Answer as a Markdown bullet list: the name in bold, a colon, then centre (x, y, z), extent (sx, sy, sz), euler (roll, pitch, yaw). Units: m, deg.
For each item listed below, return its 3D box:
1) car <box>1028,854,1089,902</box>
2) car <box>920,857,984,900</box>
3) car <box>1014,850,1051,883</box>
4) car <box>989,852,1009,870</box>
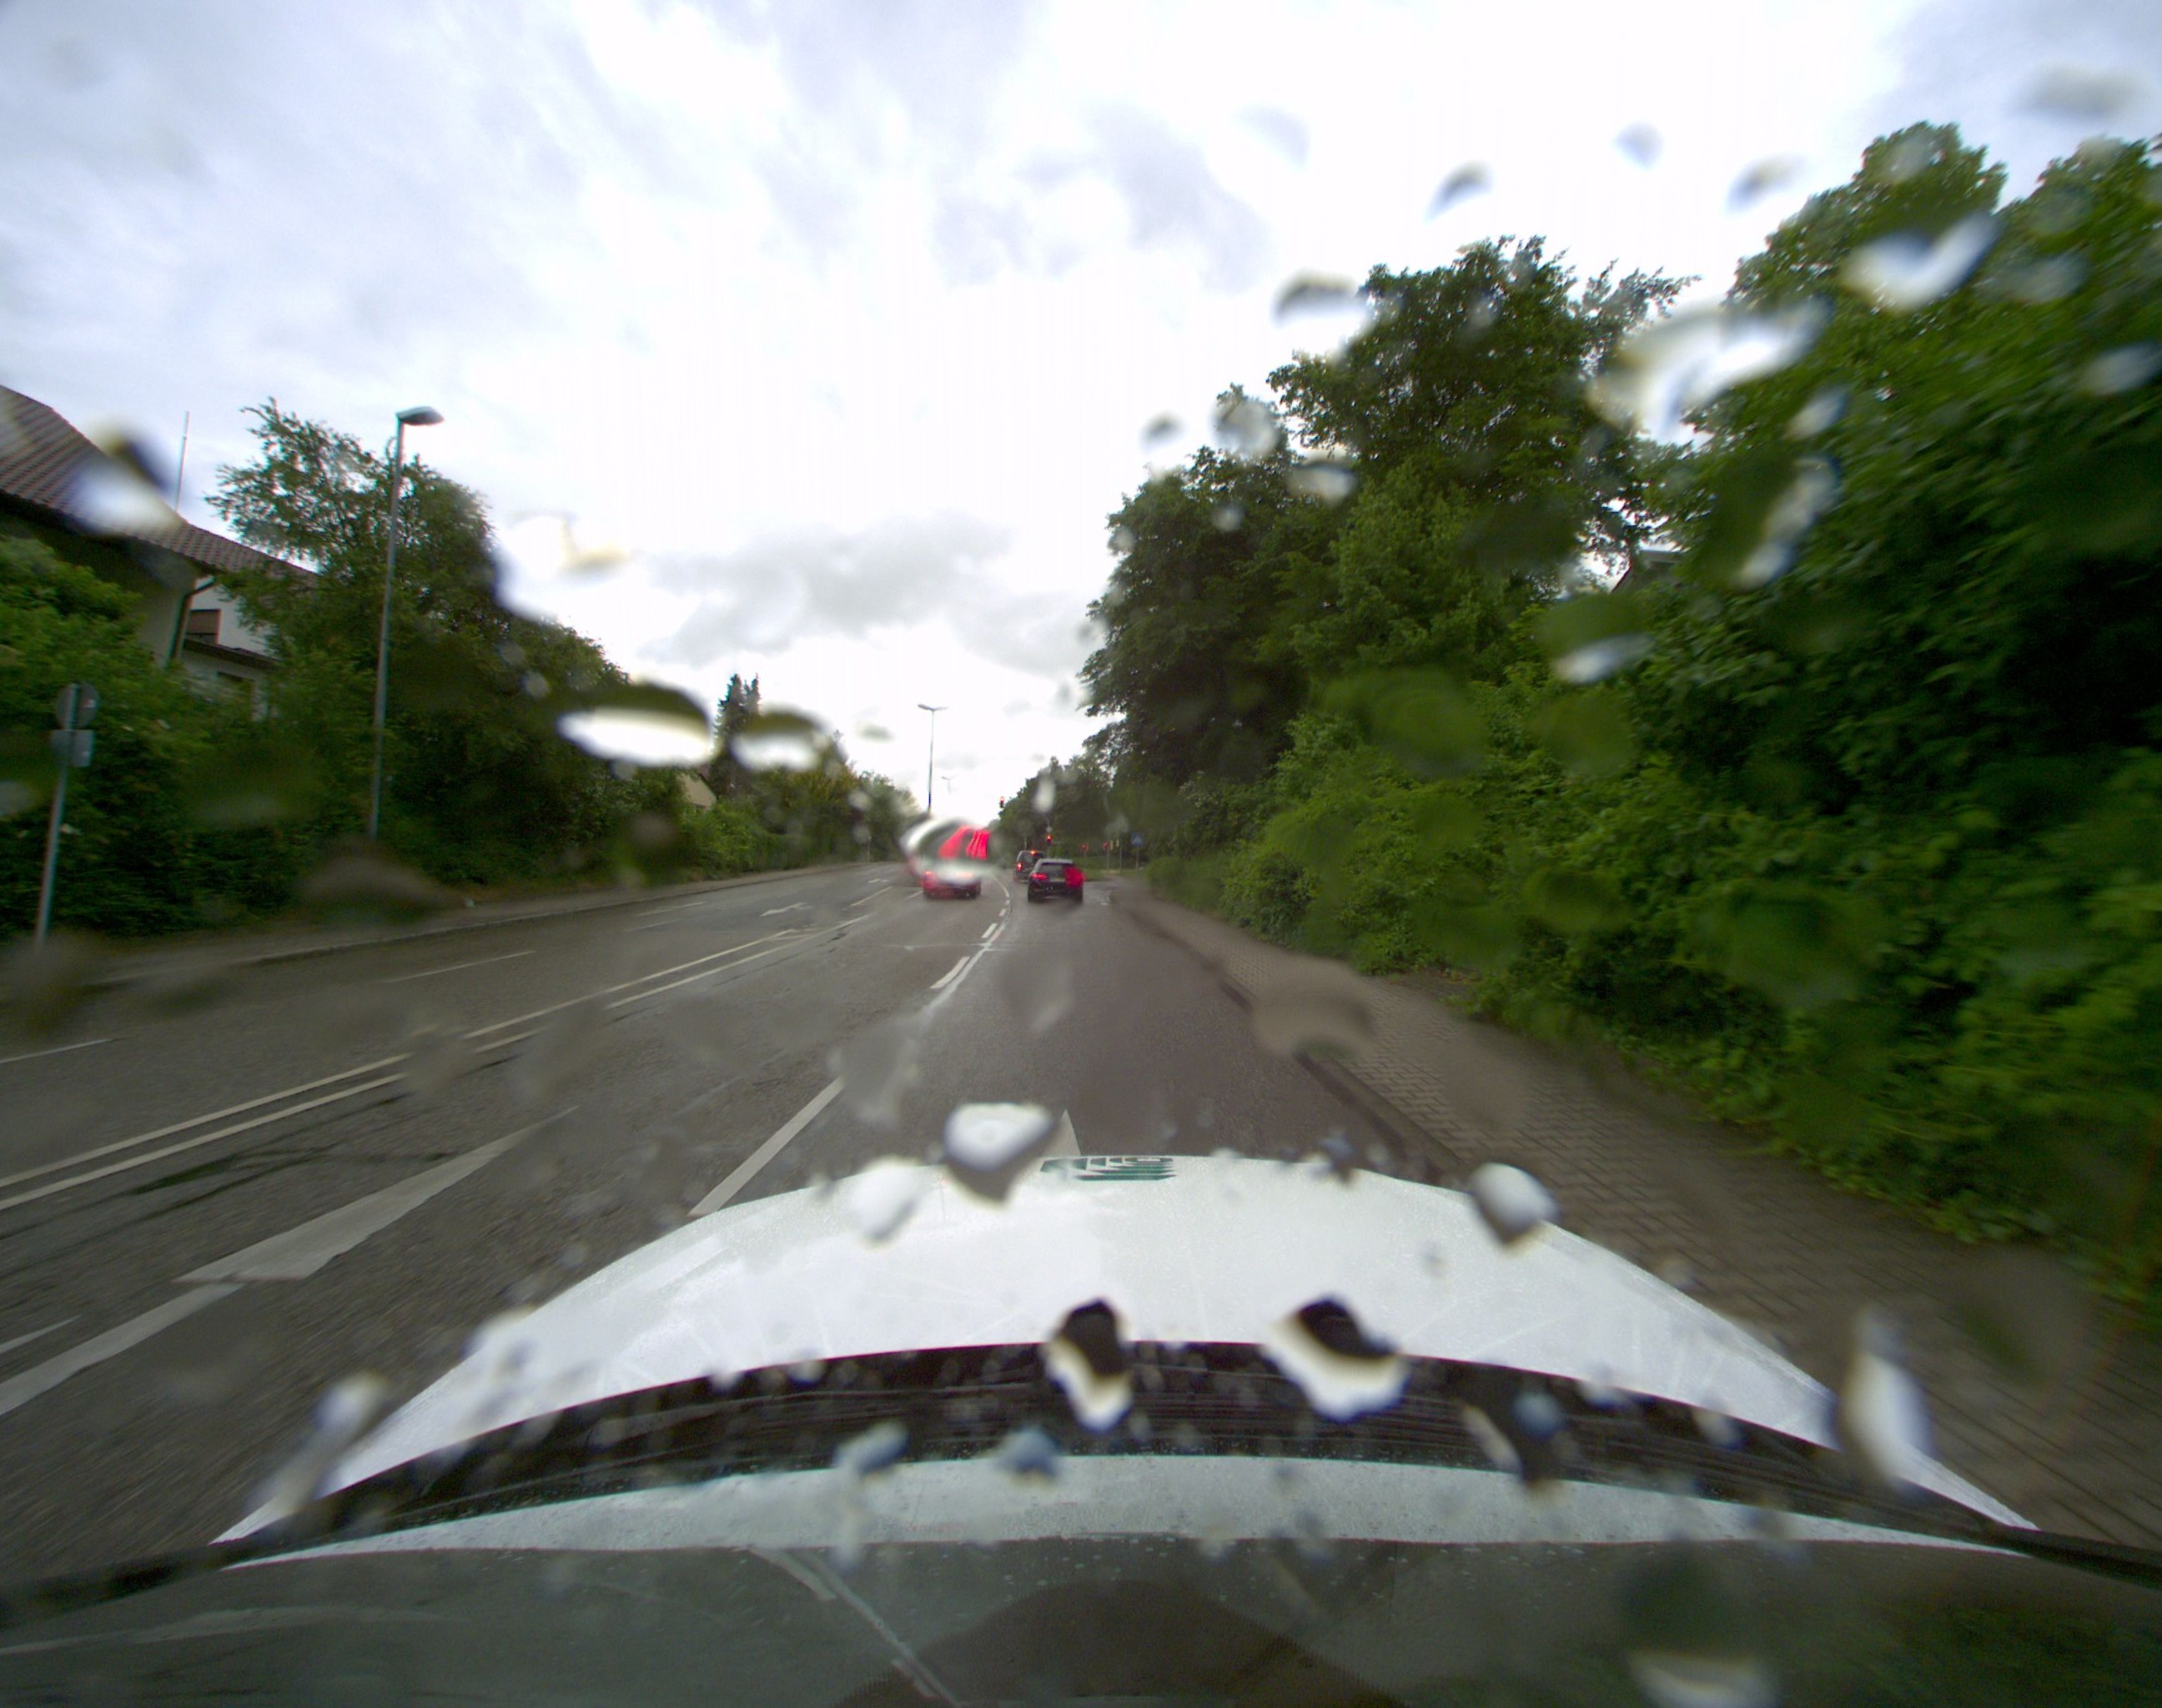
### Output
- **car**: centre (-0.884, 0.808, 29.121), extent (1.989, 1.586, 4.657), euler (0, 0, -4)
- **car**: centre (-4.689, 0.838, 30.133), extent (1.902, 1.398, 4.849), euler (1, 0, -4)
- **car**: centre (-2.780, 0.718, 47.083), extent (1.989, 1.749, 3.995), euler (-1, -1, -3)
- **car**: centre (-8.707, 0.799, 86.516), extent (1.851, 1.662, 3.984), euler (1, -4, -10)
